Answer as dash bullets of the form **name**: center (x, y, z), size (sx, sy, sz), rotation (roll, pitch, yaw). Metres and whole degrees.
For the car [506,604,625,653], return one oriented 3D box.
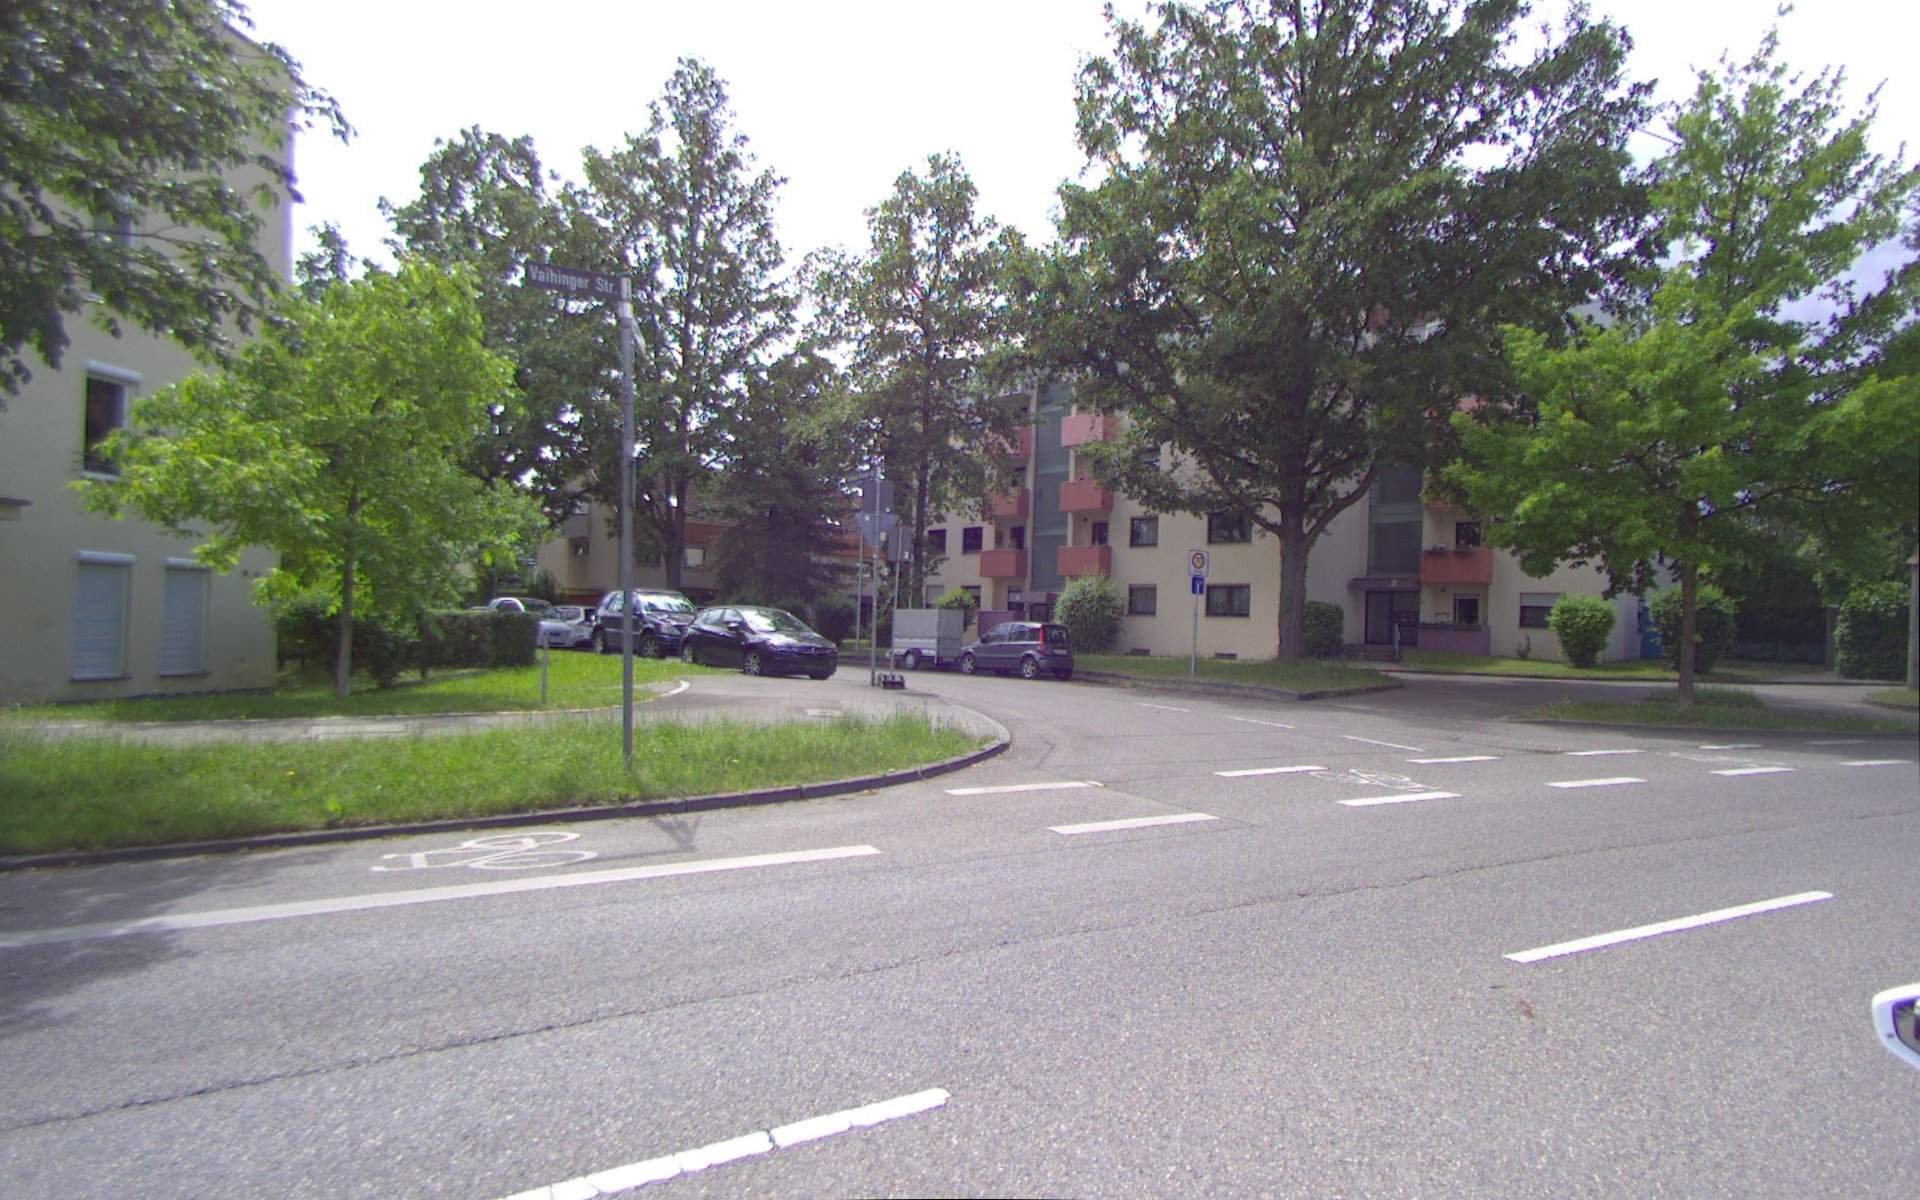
- **car**: center (-15.278, 1.073, 38.904), size (4.195, 1.725, 1.941), rotation (1, -1, 26)

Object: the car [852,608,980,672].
- **car**: center (-1.421, 1.252, 31.311), size (1.834, 1.868, 3.948), rotation (2, -3, -44)

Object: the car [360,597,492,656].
- **car**: center (-16.654, 0.787, 31.295), size (3.927, 1.686, 1.714), rotation (1, -1, 28)

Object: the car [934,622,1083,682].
- **car**: center (1.288, 1.381, 27.866), size (3.942, 1.472, 1.688), rotation (0, -1, 42)

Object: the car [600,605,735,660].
- **car**: center (-10.554, 1.135, 36.219), size (4.335, 1.817, 2.124), rotation (1, -1, 26)

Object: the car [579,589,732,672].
- **car**: center (-7.636, 0.705, 24.918), size (1.858, 1.675, 4.376), rotation (2, 1, -43)

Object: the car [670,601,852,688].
- **car**: center (-4.206, 0.850, 20.842), size (1.726, 1.417, 4.098), rotation (2, 1, -44)

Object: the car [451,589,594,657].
- **car**: center (-12.702, 0.638, 29.131), size (3.928, 1.817, 1.763), rotation (1, -1, 29)
